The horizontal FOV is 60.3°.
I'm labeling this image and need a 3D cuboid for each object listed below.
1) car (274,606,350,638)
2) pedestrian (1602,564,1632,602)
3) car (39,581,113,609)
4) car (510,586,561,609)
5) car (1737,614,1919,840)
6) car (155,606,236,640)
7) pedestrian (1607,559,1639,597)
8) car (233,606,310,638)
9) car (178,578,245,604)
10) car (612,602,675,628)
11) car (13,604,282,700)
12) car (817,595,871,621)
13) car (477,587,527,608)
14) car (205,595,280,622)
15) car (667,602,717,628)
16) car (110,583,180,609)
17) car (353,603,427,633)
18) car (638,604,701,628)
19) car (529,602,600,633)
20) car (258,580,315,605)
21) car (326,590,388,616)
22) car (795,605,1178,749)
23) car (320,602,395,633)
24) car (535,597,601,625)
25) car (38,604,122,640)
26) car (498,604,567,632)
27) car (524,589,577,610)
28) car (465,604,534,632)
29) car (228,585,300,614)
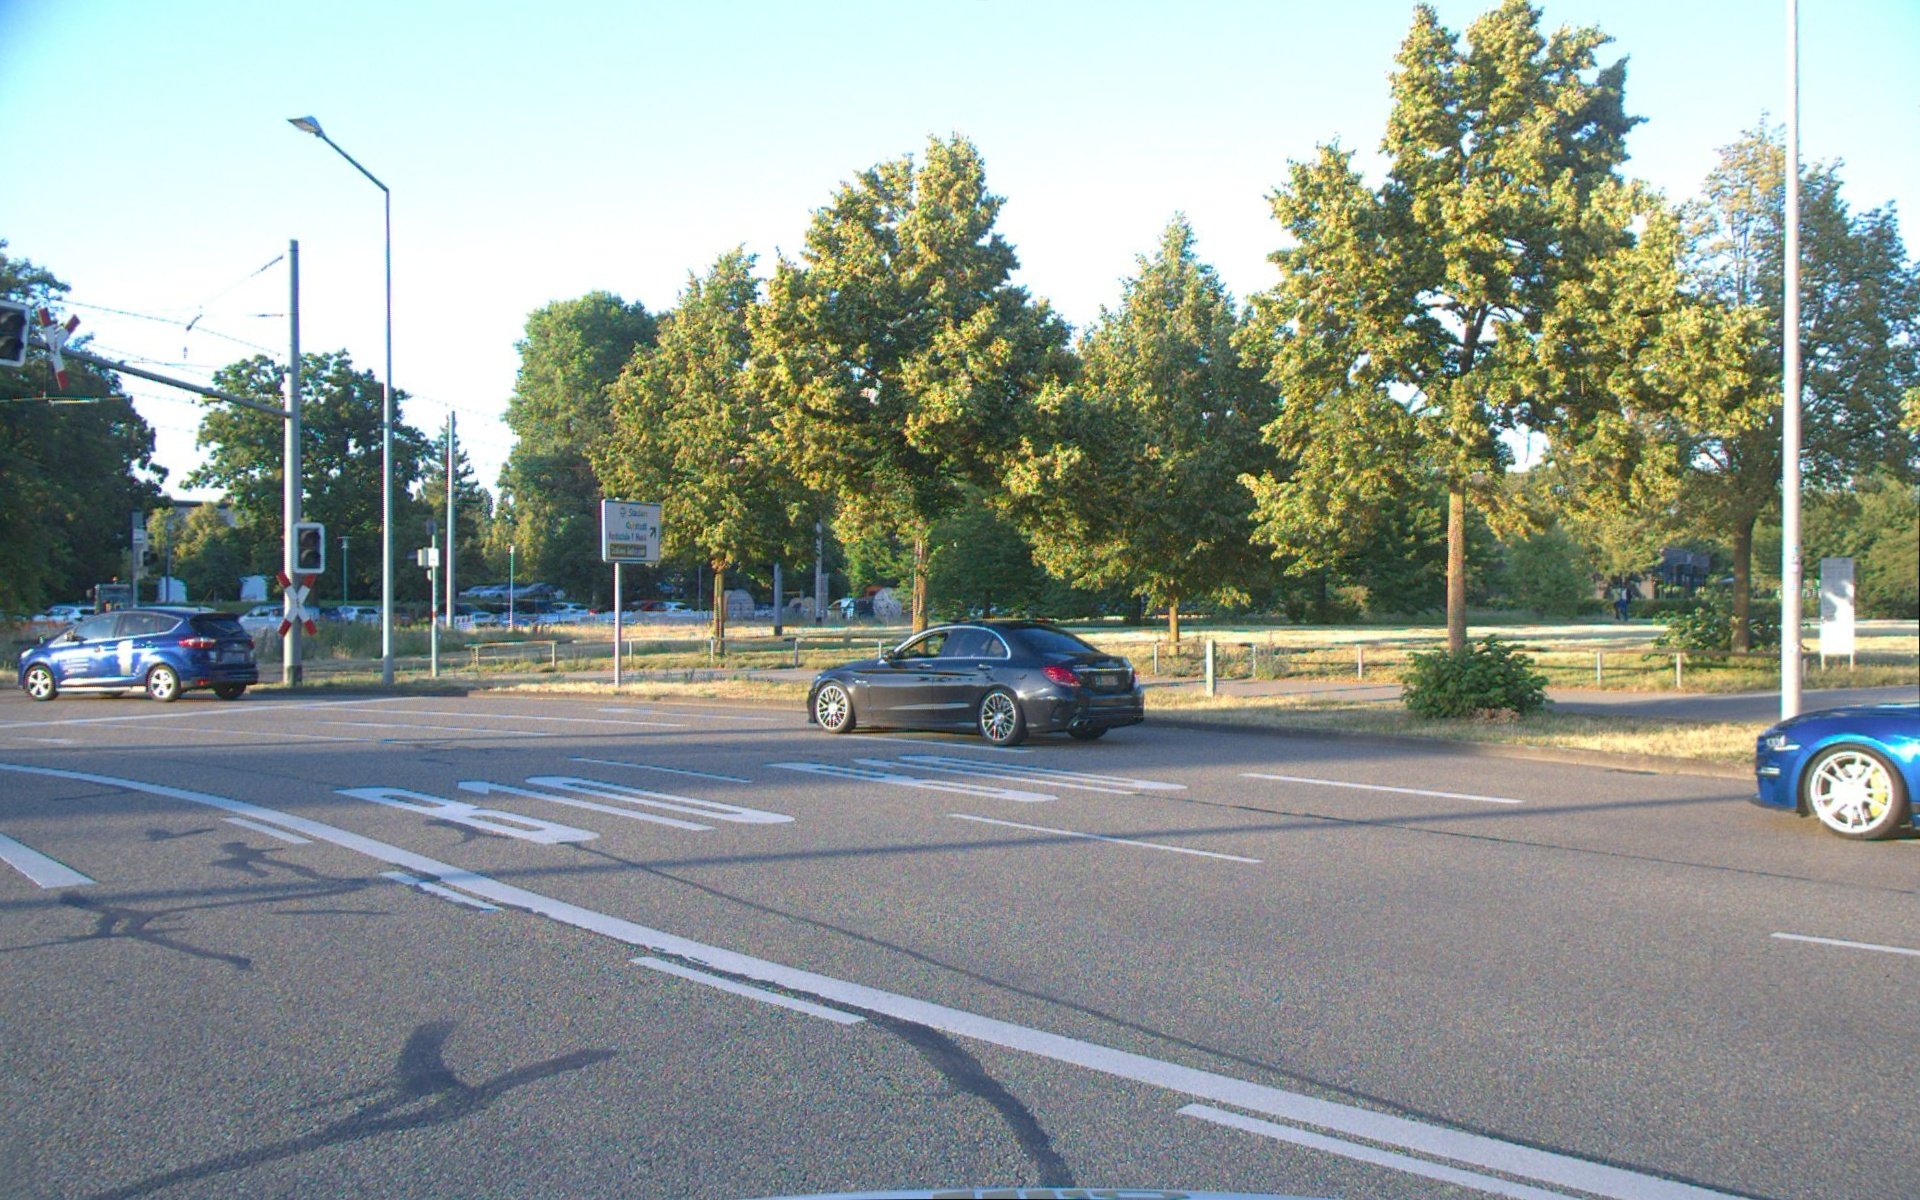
[{"bbox_3d":[-34.807,1.179,88.869,3.918,1.632,1.993,0,0,35],"label":"car"},{"bbox_3d":[29.110,-0.757,73.300,1.047,1.646,0.911,0,0,4],"label":"pedestrian"},{"bbox_3d":[-66.993,-0.389,125.408,1.957,2.049,4.587,0,0,32],"label":"car"},{"bbox_3d":[-37.282,-0.224,145.259,1.965,2.049,3.975,0,0,42],"label":"car"},{"bbox_3d":[8.053,0.889,11.190,1.981,1.531,4.704,0,0,-39],"label":"car"},{"bbox_3d":[-38.249,1.109,82.764,3.918,1.632,1.993,0,0,35],"label":"car"},{"bbox_3d":[28.783,-0.958,71.784,1.047,1.646,0.911,0,0,4],"label":"pedestrian"},{"bbox_3d":[-36.322,1.149,87.270,3.918,1.632,1.993,0,0,35],"label":"car"},{"bbox_3d":[-60.809,-0.738,134.451,1.960,2.049,4.581,0,0,36],"label":"car"},{"bbox_3d":[-21.038,0.984,109.883,3.918,1.632,1.993,0,0,35],"label":"car"},{"bbox_3d":[-14.368,0.895,29.307,4.079,1.611,1.917,-1,0,17],"label":"car"},{"bbox_3d":[-7.746,0.514,110.256,1.722,1.646,3.945,0,0,-38],"label":"car"},{"bbox_3d":[-41.012,-0.229,148.267,1.961,1.847,3.984,0,0,37],"label":"car"},{"bbox_3d":[-45.261,0.520,104.424,1.865,1.691,3.984,0,0,36],"label":"car"},{"bbox_3d":[-20.225,1.118,124.750,1.976,1.782,4.543,0,1,-34],"label":"car"},{"bbox_3d":[-63.887,-0.327,129.758,1.957,2.049,4.587,0,0,32],"label":"car"},{"bbox_3d":[-31.985,0.969,92.786,3.918,1.632,1.993,0,0,35],"label":"car"},{"bbox_3d":[-19.593,1.067,111.568,3.918,1.632,1.993,0,0,35],"label":"car"},{"bbox_3d":[-27.128,1.177,113.656,4.495,2.049,1.997,0,0,-7],"label":"car"},{"bbox_3d":[-56.977,-0.658,140.047,1.960,2.049,4.101,0,0,35],"label":"car"},{"bbox_3d":[-40.539,0.211,111.241,3.928,1.691,1.891,0,0,-20],"label":"car"},{"bbox_3d":[0.240,0.870,20.379,4.537,1.531,1.988,0,-1,42],"label":"car"},{"bbox_3d":[-33.028,0.948,90.614,3.918,1.632,1.993,0,0,35],"label":"car"},{"bbox_3d":[-28.830,0.803,121.855,4.495,2.049,1.997,0,0,-7],"label":"car"},{"bbox_3d":[-41.809,1.039,78.573,3.918,1.632,1.993,0,0,35],"label":"car"},{"bbox_3d":[-26.140,1.086,101.121,3.918,1.632,1.993,0,0,35],"label":"car"},{"bbox_3d":[-35.043,-0.029,141.637,3.902,1.736,2.002,0,0,9],"label":"car"},{"bbox_3d":[-27.569,1.057,99.048,3.918,1.632,1.993,0,0,35],"label":"car"},{"bbox_3d":[-50.930,-0.053,121.119,1.957,2.049,4.587,0,0,32],"label":"car"}]
